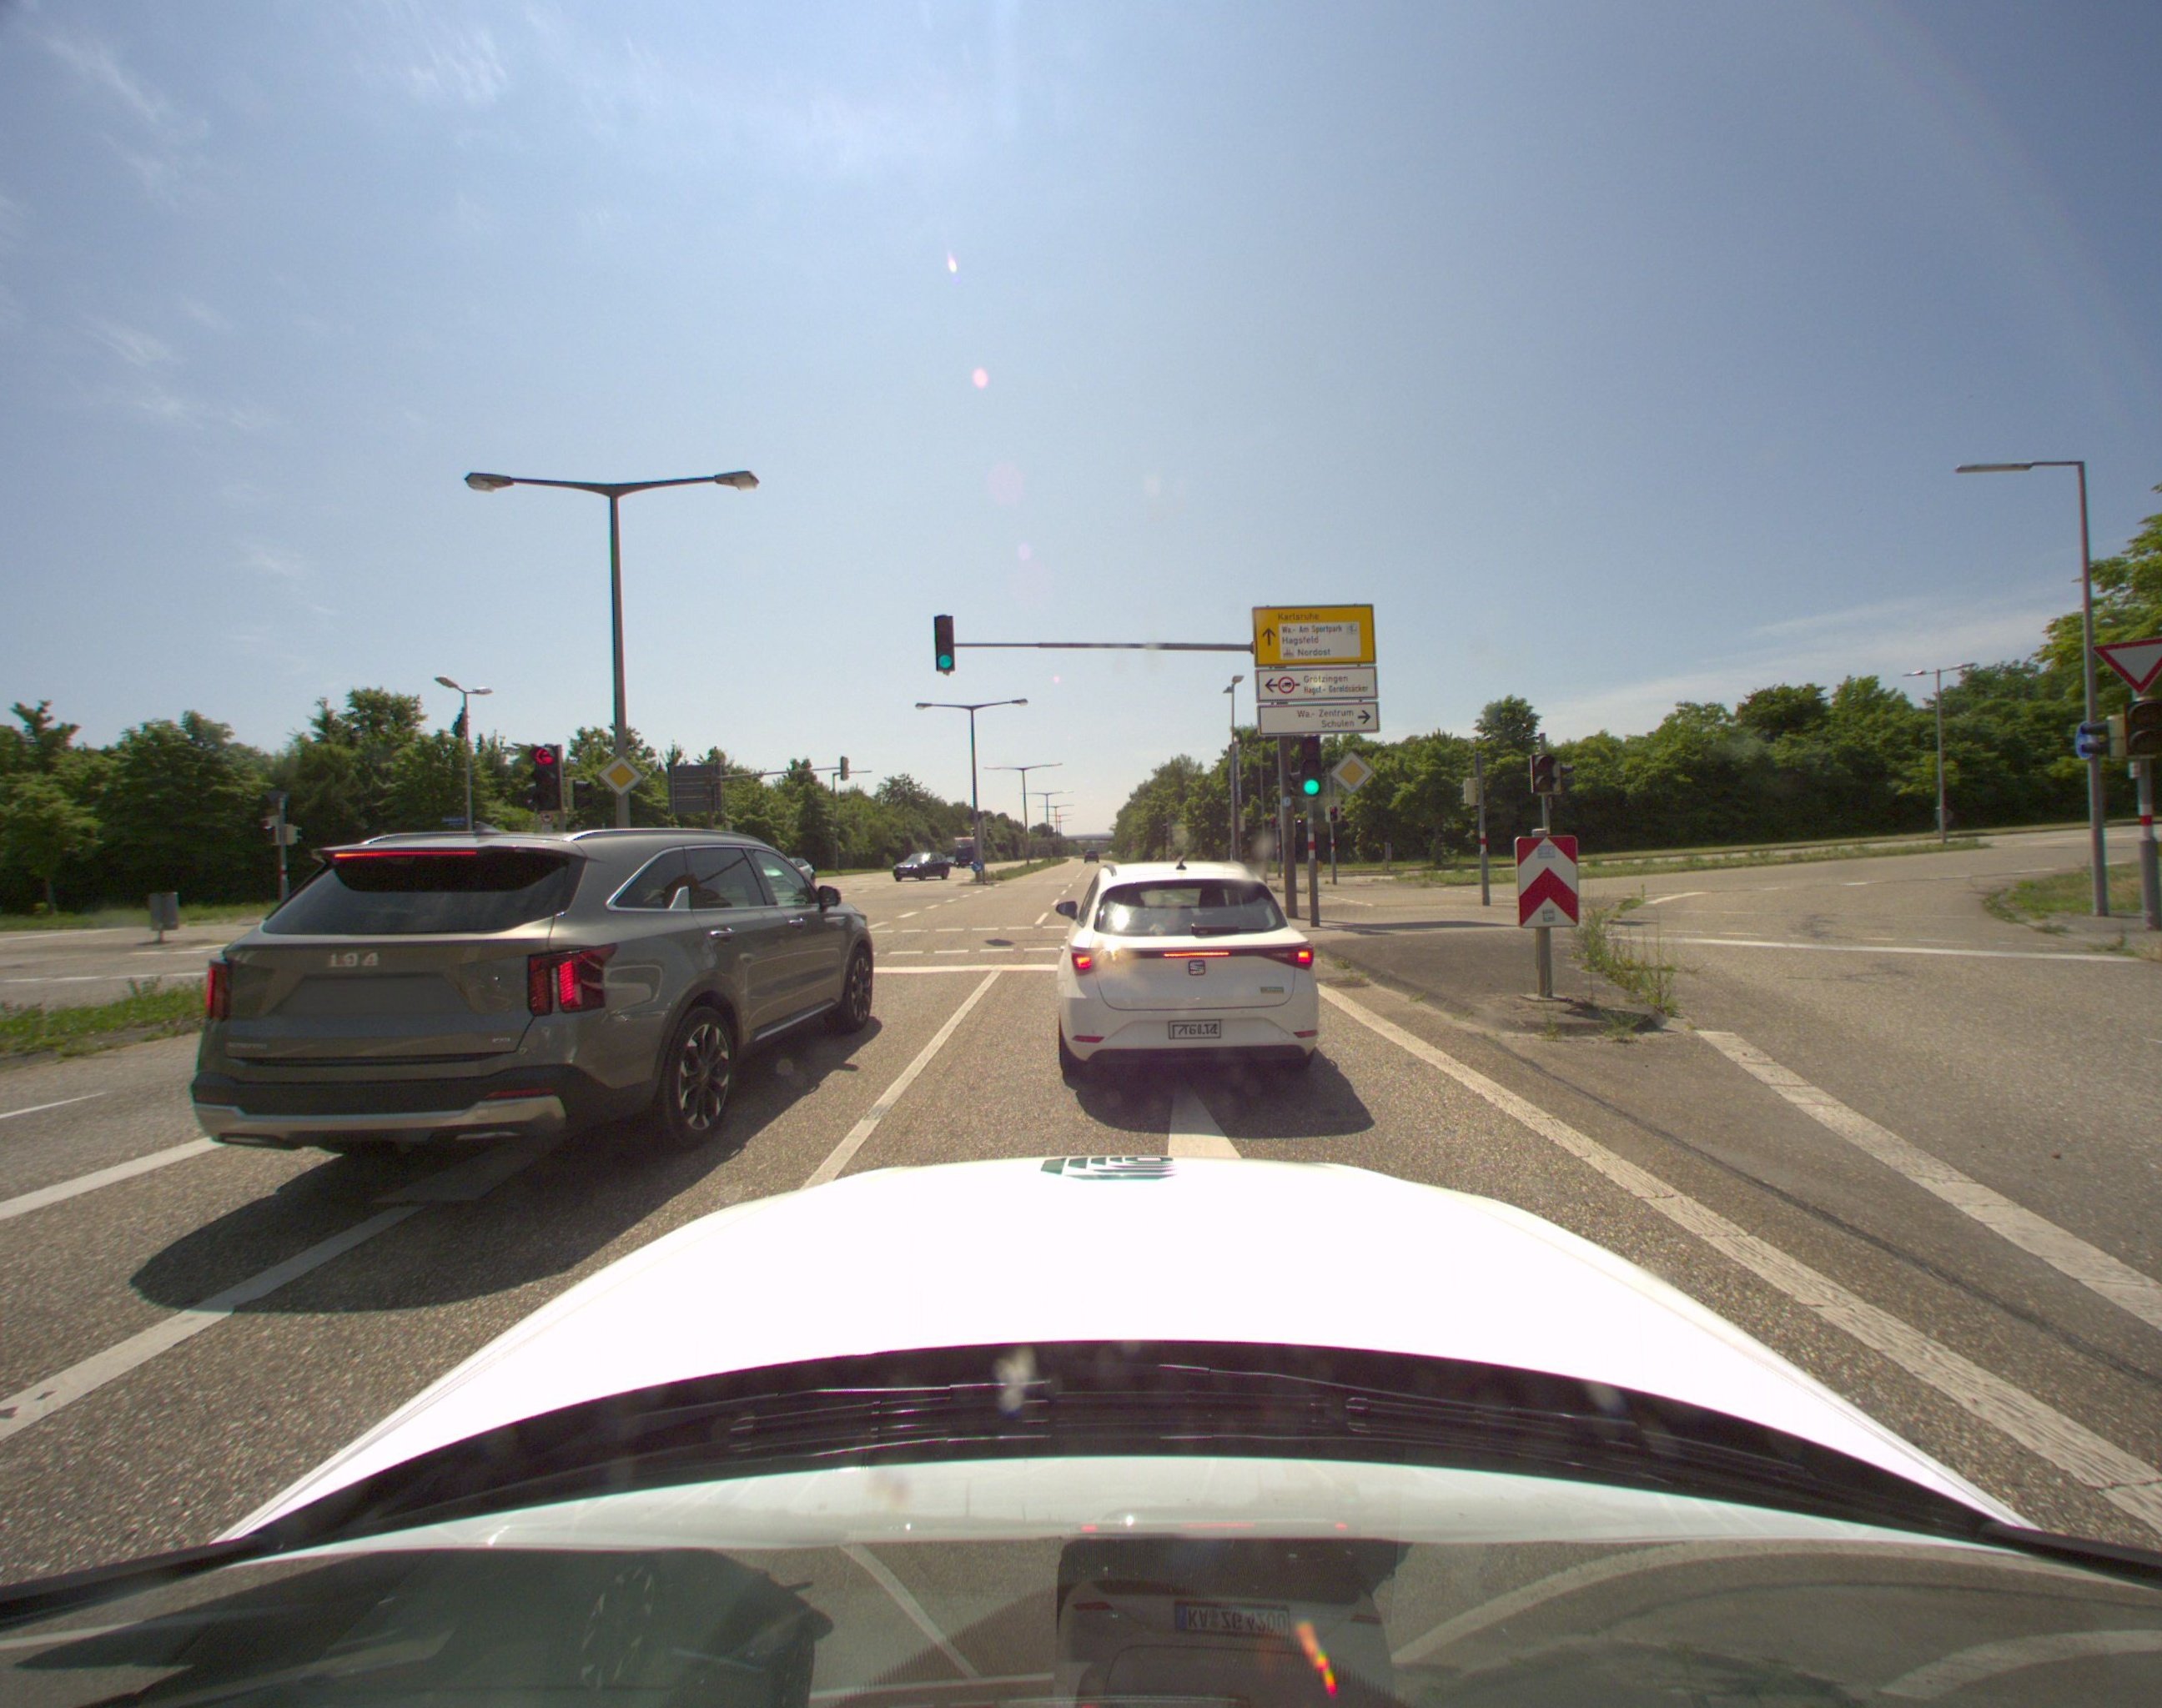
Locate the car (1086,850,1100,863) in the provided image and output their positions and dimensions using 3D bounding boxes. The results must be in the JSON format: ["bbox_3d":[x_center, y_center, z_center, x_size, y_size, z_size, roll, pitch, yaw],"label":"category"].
[{"bbox_3d":[1.753,0.359,116.583,1.848,1.709,4.000,-2,0,1],"label":"car"}]

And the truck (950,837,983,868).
[{"bbox_3d":[-13.583,-0.191,97.497,2.677,3.570,7.269,-2,0,1],"label":"truck"}]

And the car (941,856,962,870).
[{"bbox_3d":[-17.019,1.123,107.134,1.816,1.732,4.928,-2,0,2],"label":"car"}]

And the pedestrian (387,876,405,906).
[{"bbox_3d":[-37.512,1.998,44.595,0.620,1.603,0.790,-2,0,-34],"label":"pedestrian"}]

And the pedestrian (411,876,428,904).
[{"bbox_3d":[-36.662,1.963,45.122,0.620,1.503,0.790,-2,0,-34],"label":"pedestrian"}]

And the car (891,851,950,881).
[{"bbox_3d":[-9.852,0.718,50.233,1.693,1.663,4.242,-2,0,17],"label":"car"}]

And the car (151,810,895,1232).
[{"bbox_3d":[-2.815,0.684,5.643,1.797,1.662,4.646,-2,0,2],"label":"car"}]

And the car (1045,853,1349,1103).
[{"bbox_3d":[0.723,0.729,6.533,1.728,1.428,3.696,0,-1,2],"label":"car"}]

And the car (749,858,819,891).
[{"bbox_3d":[-14.760,1.001,40.709,1.816,1.455,4.170,-2,0,2],"label":"car"}]
